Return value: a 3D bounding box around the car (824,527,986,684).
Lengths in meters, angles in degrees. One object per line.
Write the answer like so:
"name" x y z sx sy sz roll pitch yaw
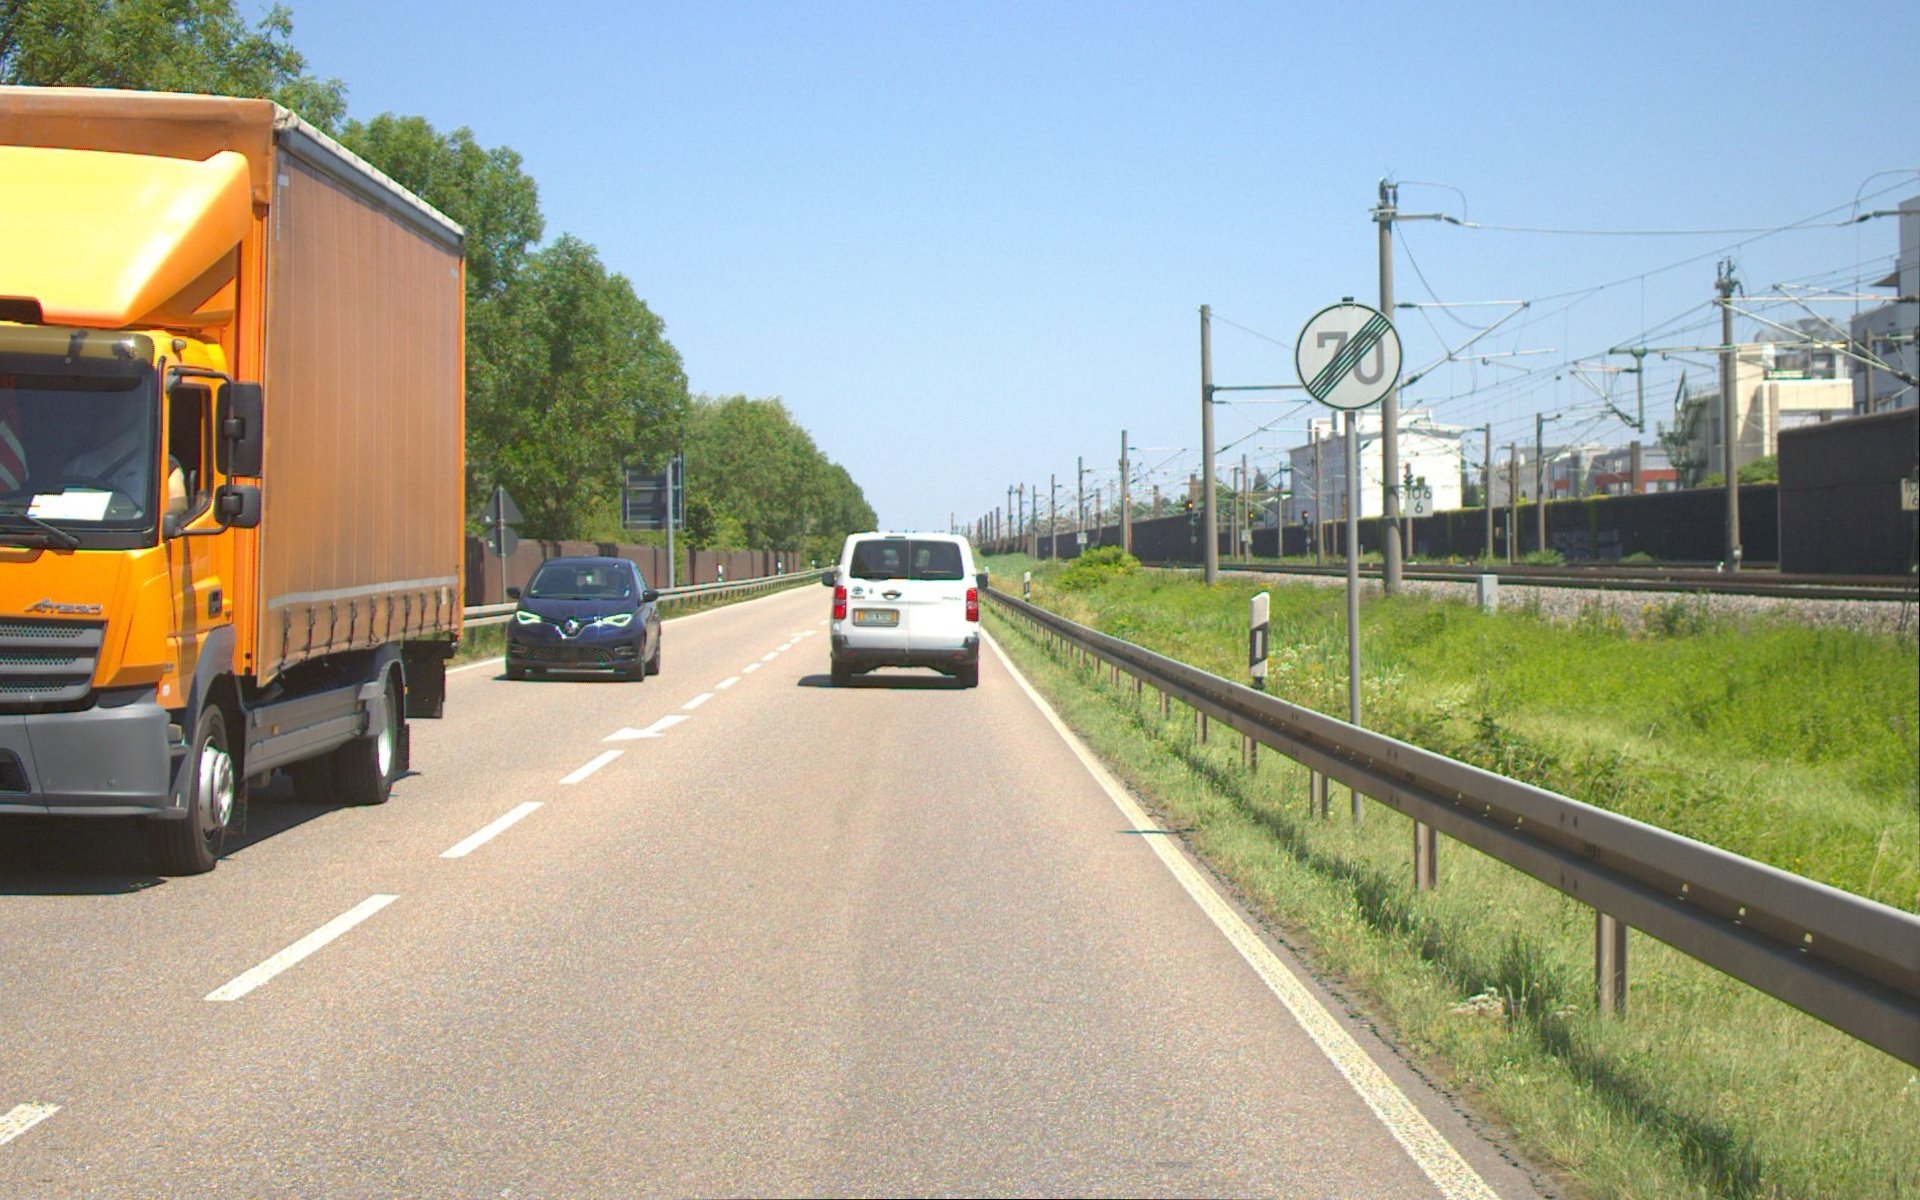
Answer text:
"car" -0.695 0.045 44.062 1.945 1.875 4.881 1 0 -1

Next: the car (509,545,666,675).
"car" -4.737 0.091 44.112 1.622 1.572 3.763 0 1 0

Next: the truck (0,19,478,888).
"truck" -4.797 -0.709 19.828 2.792 3.827 9.324 1 1 -1
